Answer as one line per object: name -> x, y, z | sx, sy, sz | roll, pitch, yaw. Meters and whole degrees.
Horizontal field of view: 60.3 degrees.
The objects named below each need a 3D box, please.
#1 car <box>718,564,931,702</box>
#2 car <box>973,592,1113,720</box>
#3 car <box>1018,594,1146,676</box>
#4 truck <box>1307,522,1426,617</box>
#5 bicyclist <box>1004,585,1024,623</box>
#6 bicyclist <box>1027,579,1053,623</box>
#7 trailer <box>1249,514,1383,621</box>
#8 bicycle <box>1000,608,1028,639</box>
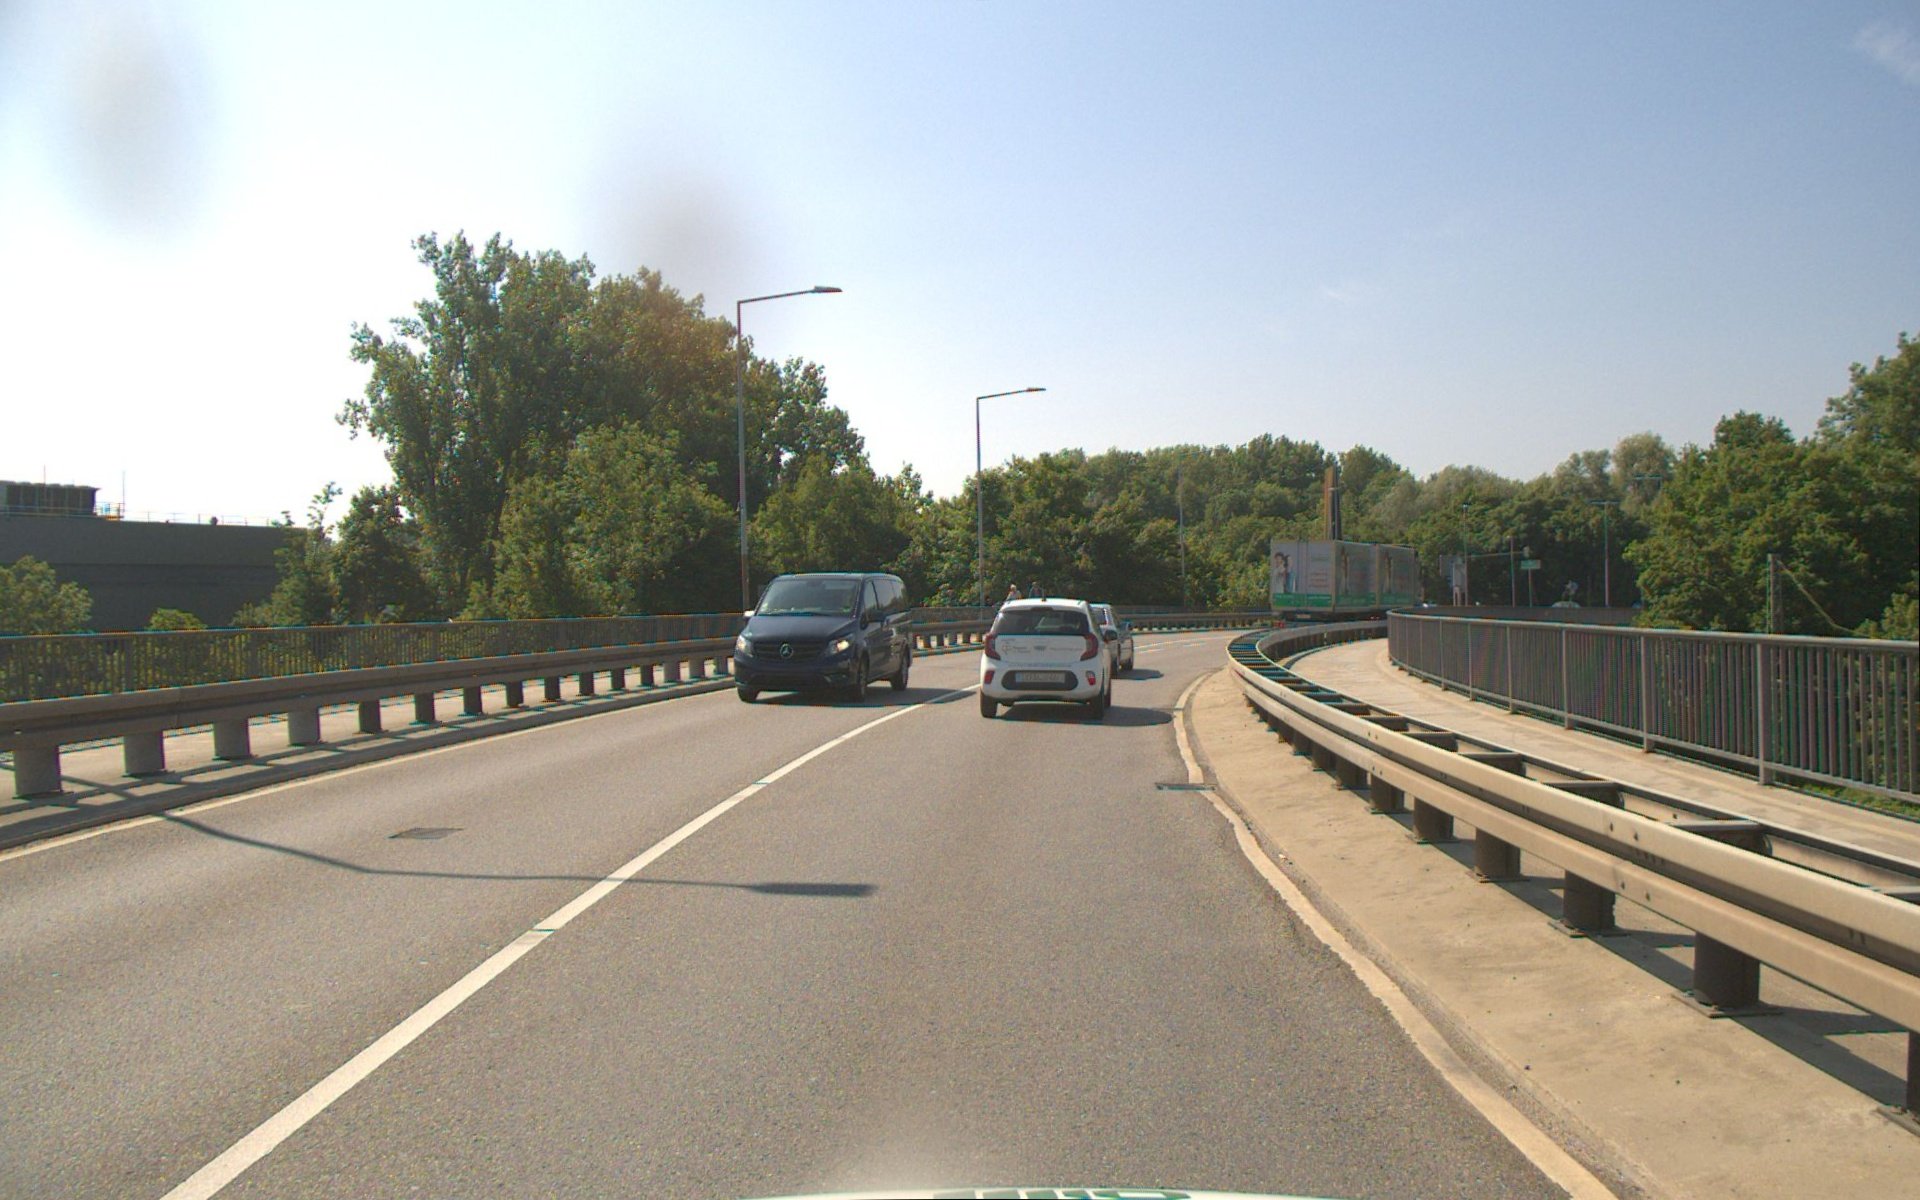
car -> -1.956, 0.475, 26.068 | 2.031, 1.921, 5.919 | 0, 0, 9
car -> 1.201, 0.705, 22.341 | 1.665, 1.520, 4.002 | 2, 0, 6
car -> 2.603, 0.658, 34.138 | 1.897, 1.512, 4.904 | 1, 0, 13
truck -> 17.914, -1.320, 72.472 | 3.197, 3.823, 8.362 | 3, 2, 27
bicyclist -> 1.971, 0.145, 60.380 | 0.478, 1.352, 0.947 | 1, -1, 16
bicyclist -> 2.866, 0.028, 59.317 | 0.646, 1.522, 1.016 | 1, 2, 19
trailer -> 14.028, -1.260, 64.680 | 3.162, 3.823, 7.816 | 3, 2, 27
bicycle -> 1.983, 0.862, 60.475 | 0.562, 1.065, 1.711 | -2, 0, 17
